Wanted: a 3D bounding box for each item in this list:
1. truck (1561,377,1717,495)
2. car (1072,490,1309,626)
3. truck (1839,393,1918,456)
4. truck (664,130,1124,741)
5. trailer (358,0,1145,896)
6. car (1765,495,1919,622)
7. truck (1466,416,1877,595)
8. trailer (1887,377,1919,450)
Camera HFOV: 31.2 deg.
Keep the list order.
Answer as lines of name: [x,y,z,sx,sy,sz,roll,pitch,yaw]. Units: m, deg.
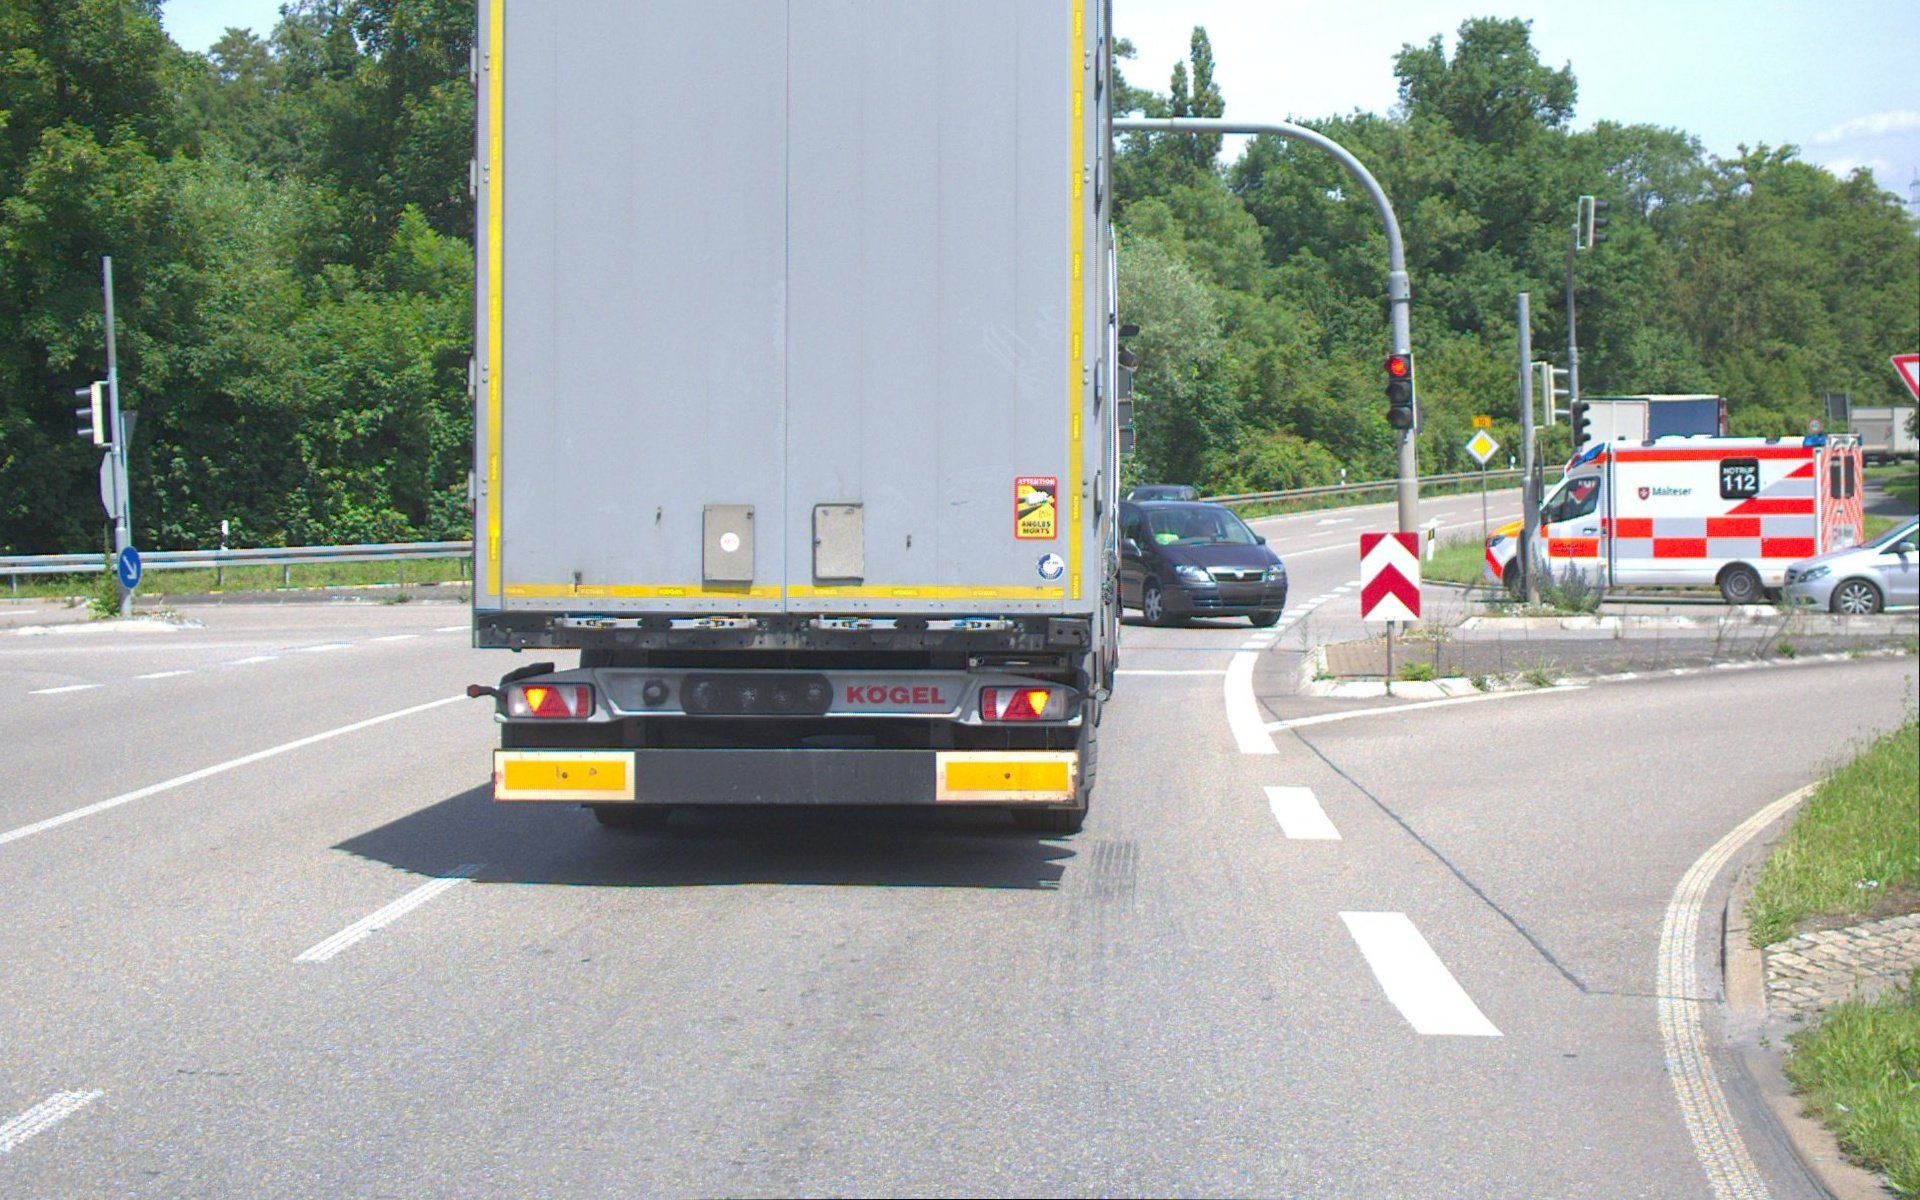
truck: [25.656,-6.076,129.343,3.183,4.015,11.730,1,1,24]
car: [3.166,-0.549,48.378,1.993,1.779,4.943,1,0,-12]
truck: [45.782,-8.722,171.272,2.859,2.938,7.096,1,1,22]
truck: [-0.305,-1.103,25.999,3.038,4.020,6.629,0,0,2]
trailer: [-0.561,-1.004,19.576,3.052,4.020,12.558,0,1,2]
car: [13.745,-0.551,48.427,4.429,1.712,1.999,1,-1,6]
truck: [11.522,-1.491,55.883,6.023,2.718,2.496,1,-1,36]
trailer: [52.642,-10.094,186.786,3.255,3.673,9.240,1,1,22]
